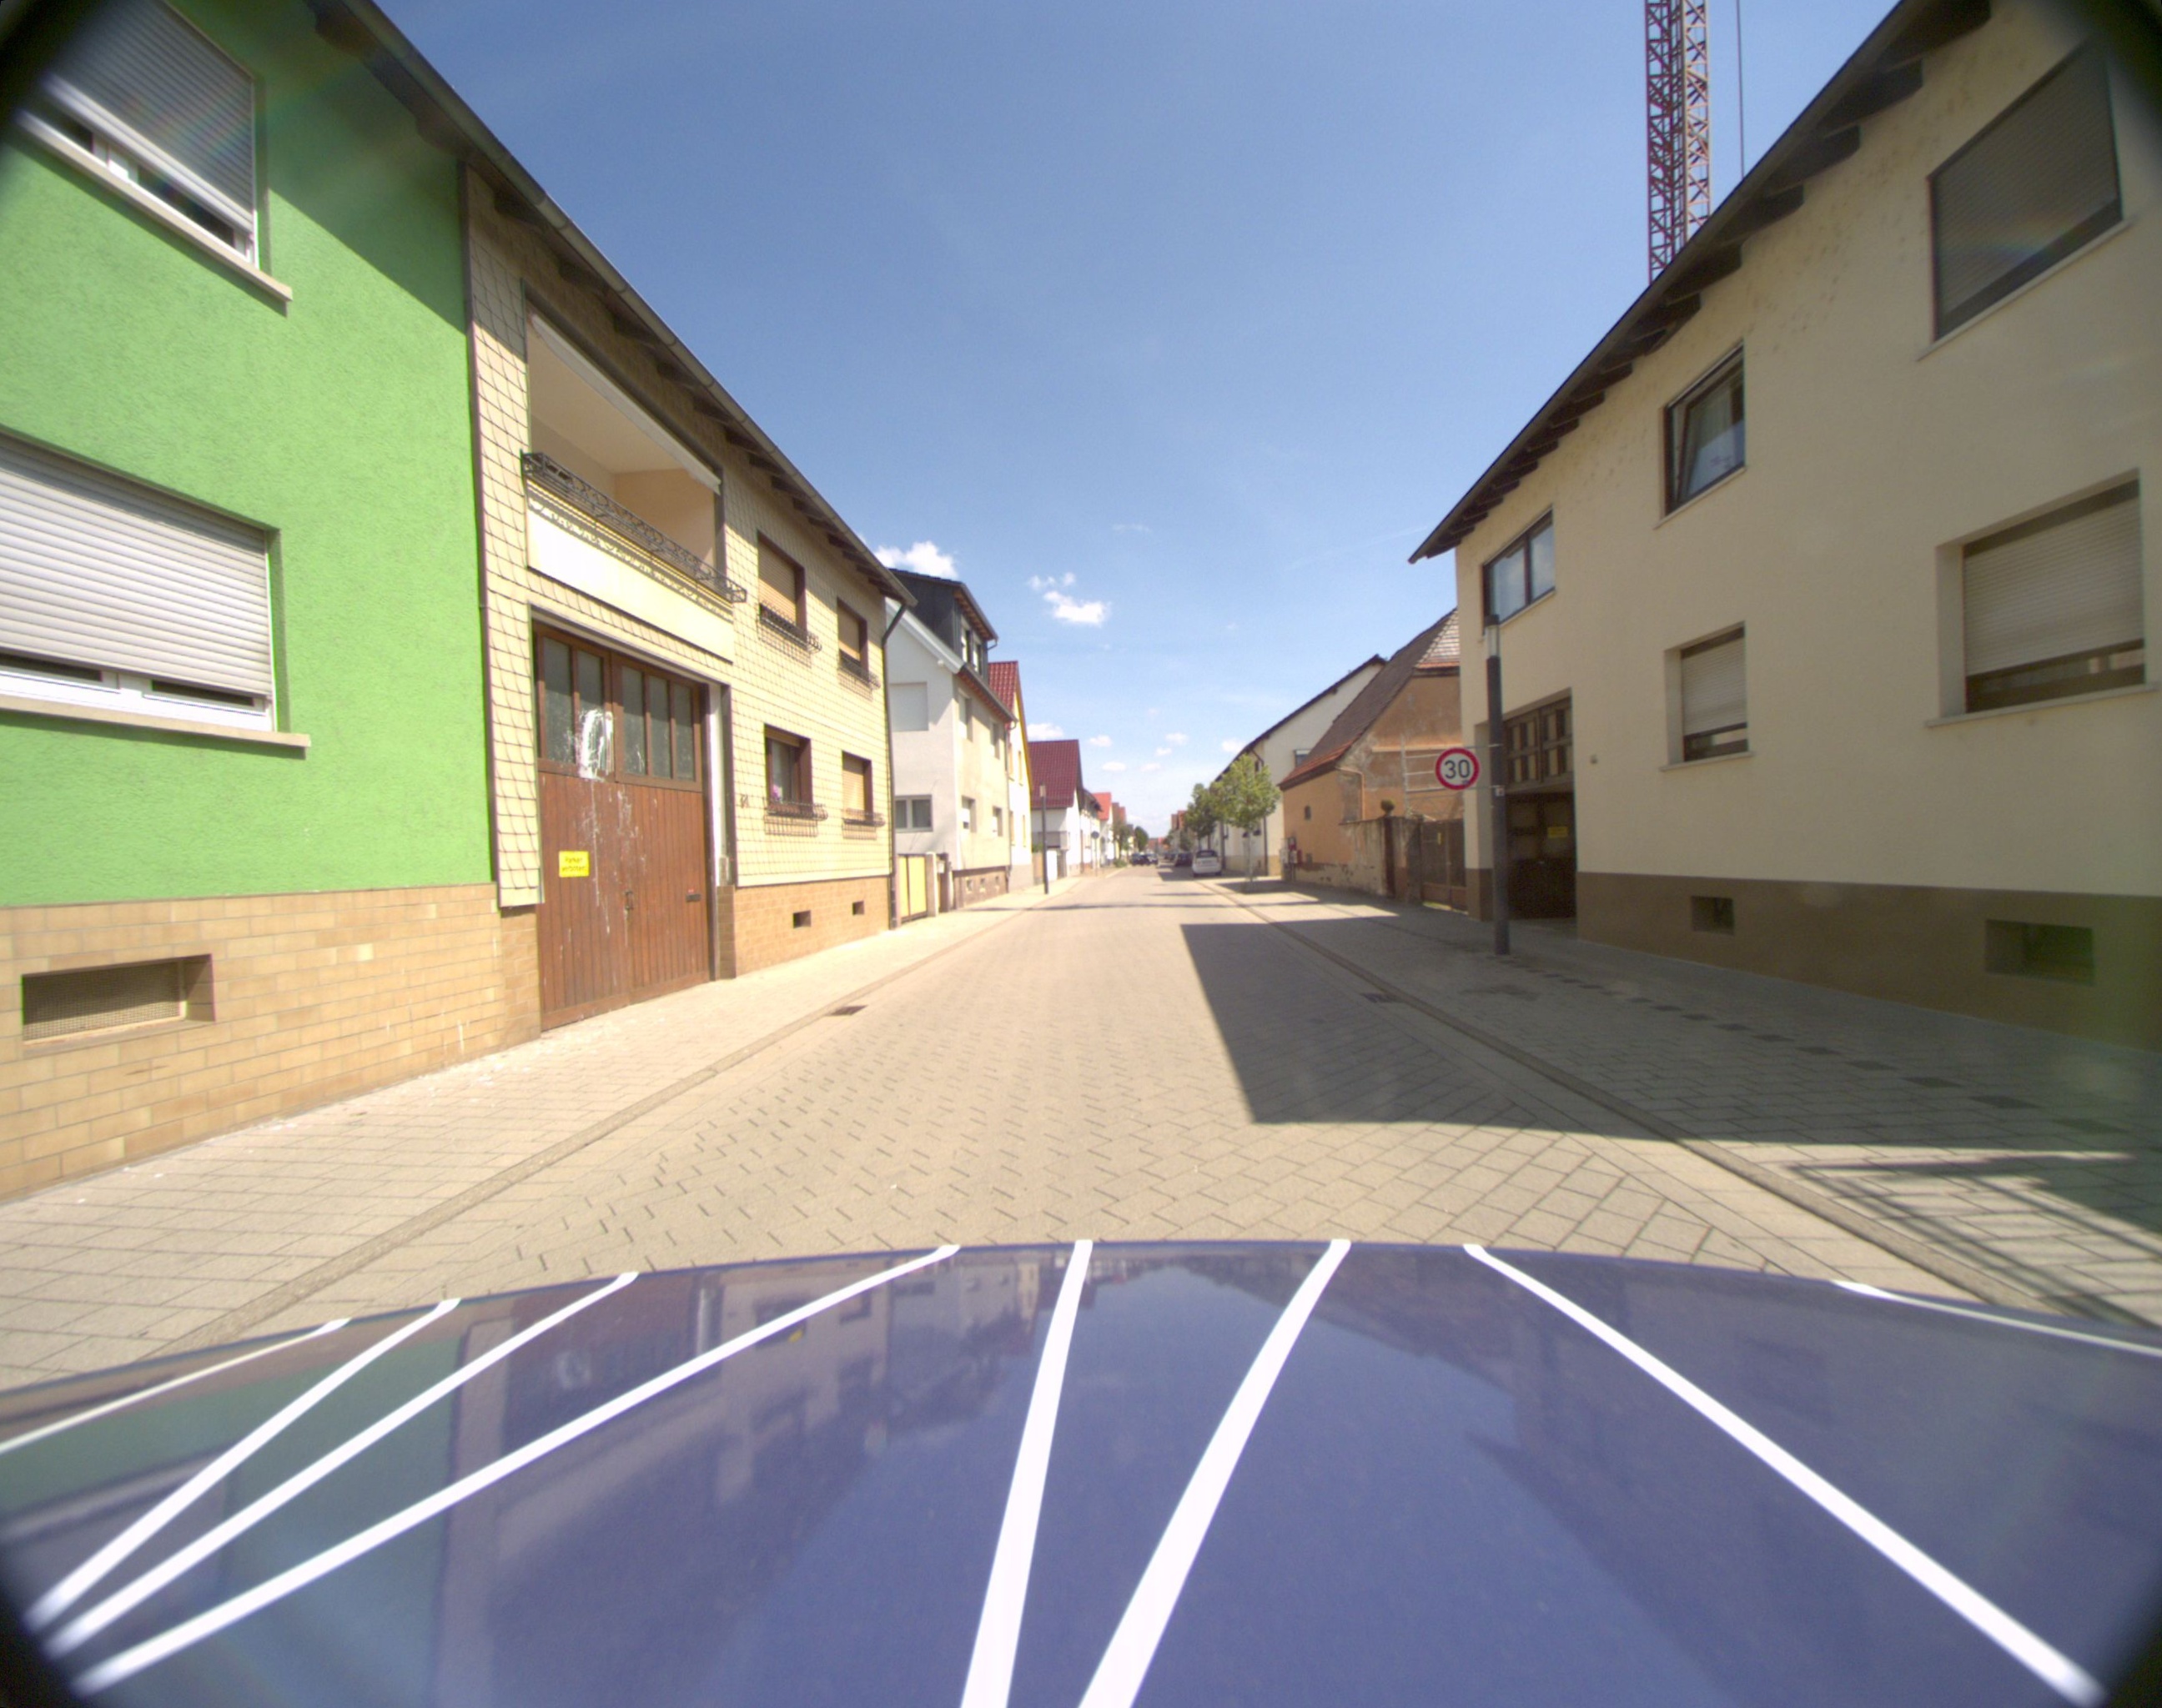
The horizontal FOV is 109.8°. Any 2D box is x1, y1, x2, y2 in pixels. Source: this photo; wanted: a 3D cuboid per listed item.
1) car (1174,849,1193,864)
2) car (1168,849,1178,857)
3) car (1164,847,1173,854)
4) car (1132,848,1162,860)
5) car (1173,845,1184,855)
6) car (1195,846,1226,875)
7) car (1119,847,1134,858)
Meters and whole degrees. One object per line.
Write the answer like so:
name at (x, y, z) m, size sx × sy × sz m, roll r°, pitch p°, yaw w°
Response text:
car at (11.039, 0.228, 82.124) m, size 1.751 × 1.557 × 3.956 m, roll -2°, pitch 0°, yaw 4°
car at (19.282, -0.174, 159.137) m, size 1.854 × 1.543 × 4.001 m, roll -2°, pitch 0°, yaw 4°
car at (21.066, -0.922, 182.852) m, size 1.998 × 1.570 × 4.001 m, roll -2°, pitch 0°, yaw 6°
car at (8.318, 0.059, 95.692) m, size 1.730 × 1.420 × 3.808 m, roll -2°, pitch 0°, yaw -36°
car at (17.701, -0.764, 137.853) m, size 1.851 × 1.688 × 4.002 m, roll -2°, pitch 0°, yaw 6°
car at (7.442, 0.348, 43.967) m, size 1.575 × 1.552 × 2.823 m, roll -4°, pitch 0°, yaw 8°
car at (7.335, -0.254, 121.704) m, size 1.997 × 1.696 × 4.002 m, roll -2°, pitch 0°, yaw 7°
